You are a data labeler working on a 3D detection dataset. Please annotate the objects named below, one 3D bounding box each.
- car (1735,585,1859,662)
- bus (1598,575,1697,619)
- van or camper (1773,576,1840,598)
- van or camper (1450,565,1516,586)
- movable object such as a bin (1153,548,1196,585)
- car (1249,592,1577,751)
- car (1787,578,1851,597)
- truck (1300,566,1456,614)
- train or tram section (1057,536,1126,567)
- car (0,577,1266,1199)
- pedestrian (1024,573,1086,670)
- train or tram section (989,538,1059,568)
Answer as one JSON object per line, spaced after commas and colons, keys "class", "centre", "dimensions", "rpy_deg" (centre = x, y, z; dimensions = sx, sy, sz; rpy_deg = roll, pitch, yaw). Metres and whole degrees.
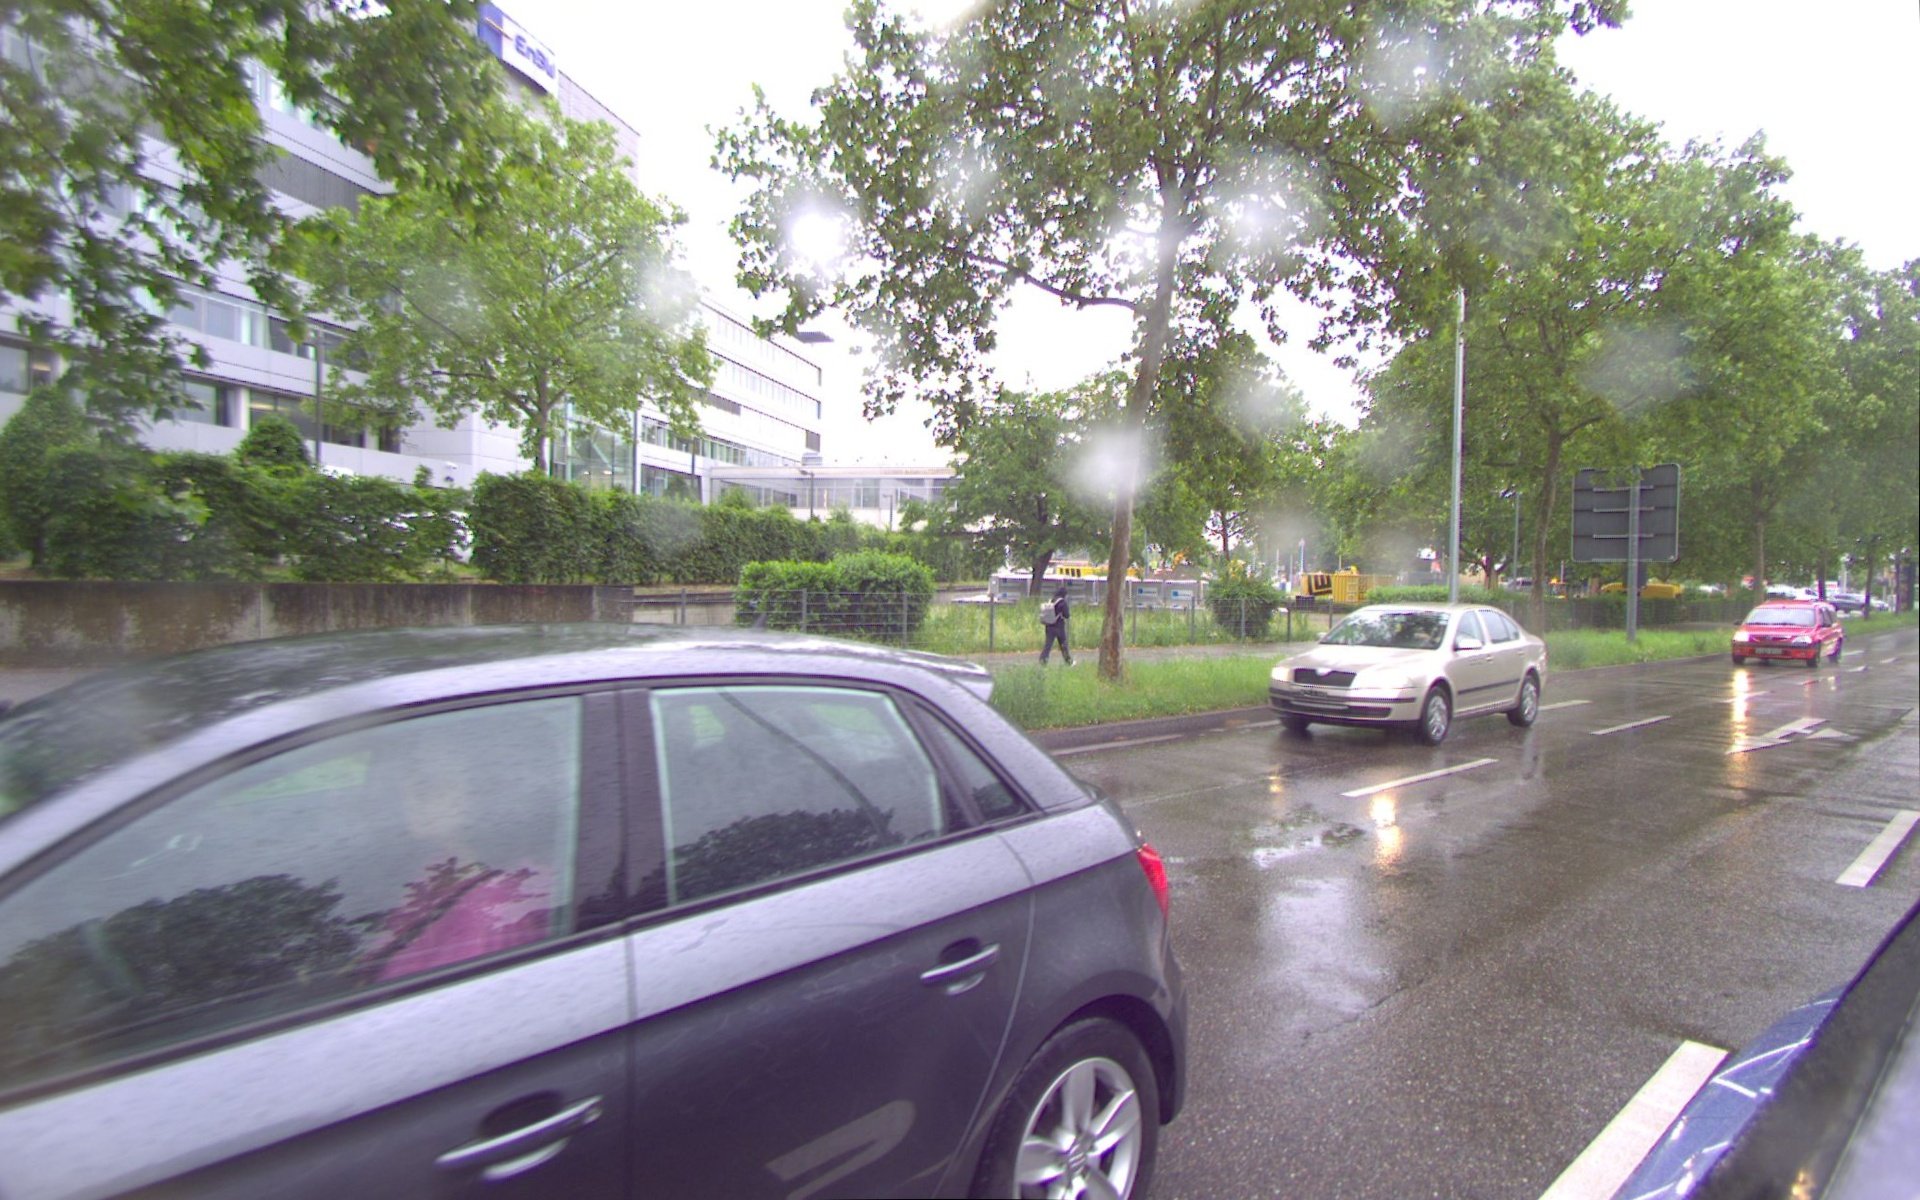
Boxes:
{"class": "car", "centre": [21.405, 0.525, 25.824], "dimensions": [4.478, 1.791, 1.699], "rpy_deg": [0, 2, -41]}
{"class": "bus", "centre": [43.350, -0.230, 63.894], "dimensions": [1.964, 2.680, 4.803], "rpy_deg": [0, 1, -39]}
{"class": "van or camper", "centre": [86.056, -1.340, 102.920], "dimensions": [4.830, 2.114, 1.863], "rpy_deg": [2, 2, 11]}
{"class": "van or camper", "centre": [83.756, -3.957, 162.219], "dimensions": [8.846, 3.196, 2.976], "rpy_deg": [0, 1, 14]}
{"class": "movable object such as a bin", "centre": [22.049, -3.420, 104.145], "dimensions": [3.253, 3.670, 3.618], "rpy_deg": [1, 2, -6]}
{"class": "car", "centre": [5.350, 0.663, 11.694], "dimensions": [4.310, 1.448, 1.806], "rpy_deg": [-1, 2, -41]}
{"class": "car", "centre": [84.622, -1.232, 99.750], "dimensions": [4.391, 1.693, 1.863], "rpy_deg": [2, 2, 11]}
{"class": "truck", "centre": [28.087, -0.681, 68.465], "dimensions": [9.359, 3.069, 3.070], "rpy_deg": [0, 1, 14]}
{"class": "train or tram section", "centre": [16.074, -5.884, 123.507], "dimensions": [8.238, 3.563, 2.393], "rpy_deg": [0, 1, 11]}
{"class": "car", "centre": [-1.355, 0.702, 1.893], "dimensions": [3.932, 1.470, 1.996], "rpy_deg": [-1, 1, -43]}
{"class": "pedestrian", "centre": [1.814, 0.383, 19.244], "dimensions": [0.664, 1.784, 1.059], "rpy_deg": [1, 1, 43]}
{"class": "train or tram section", "centre": [7.913, -5.794, 125.131], "dimensions": [8.396, 3.563, 2.393], "rpy_deg": [0, 1, 11]}
